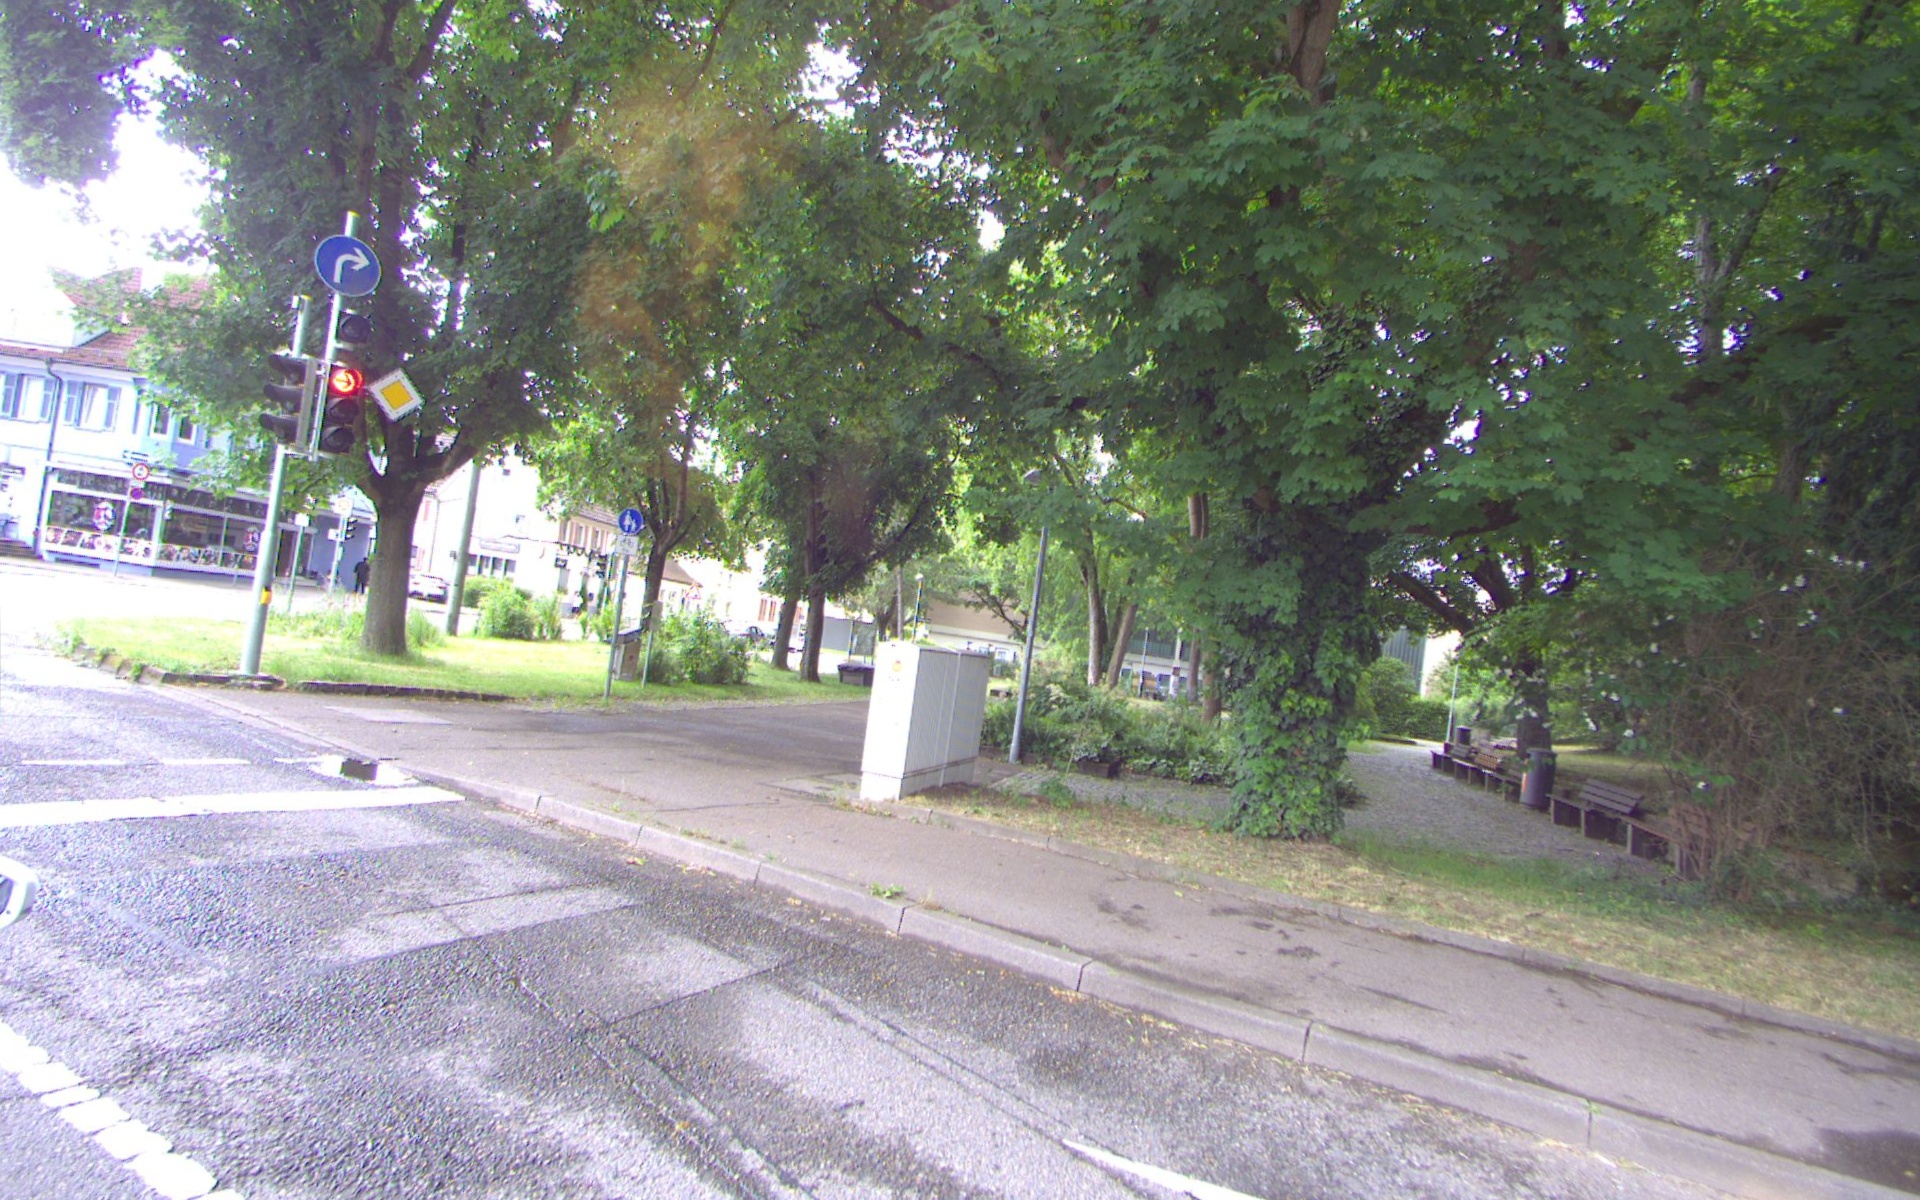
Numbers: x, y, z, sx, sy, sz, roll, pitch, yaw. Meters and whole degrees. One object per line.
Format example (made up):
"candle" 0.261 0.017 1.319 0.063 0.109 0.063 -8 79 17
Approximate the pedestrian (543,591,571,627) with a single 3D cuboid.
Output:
"pedestrian" -12.967 0.298 32.385 0.506 1.093 0.507 6 -1 17

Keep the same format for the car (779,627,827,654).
"car" -10.270 2.654 66.036 1.618 1.474 3.740 7 -2 13

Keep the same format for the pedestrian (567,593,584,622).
"pedestrian" -21.761 0.436 56.907 0.500 1.578 0.505 6 -1 17

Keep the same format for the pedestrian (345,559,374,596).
"pedestrian" -27.262 -1.023 45.661 0.732 1.578 0.673 6 -1 17

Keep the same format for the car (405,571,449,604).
"car" -28.171 -0.690 53.159 1.870 1.406 3.589 9 -2 -28

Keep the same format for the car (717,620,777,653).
"car" -11.559 2.014 54.931 1.618 1.474 3.740 7 -2 13

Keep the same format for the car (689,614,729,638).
"car" -18.476 1.933 74.164 1.736 1.463 3.865 7 -2 2

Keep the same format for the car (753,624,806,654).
"car" -10.696 2.337 59.905 1.618 1.474 3.740 7 -2 13

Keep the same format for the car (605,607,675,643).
"car" -13.997 1.106 44.157 1.436 1.282 3.014 7 -2 13
